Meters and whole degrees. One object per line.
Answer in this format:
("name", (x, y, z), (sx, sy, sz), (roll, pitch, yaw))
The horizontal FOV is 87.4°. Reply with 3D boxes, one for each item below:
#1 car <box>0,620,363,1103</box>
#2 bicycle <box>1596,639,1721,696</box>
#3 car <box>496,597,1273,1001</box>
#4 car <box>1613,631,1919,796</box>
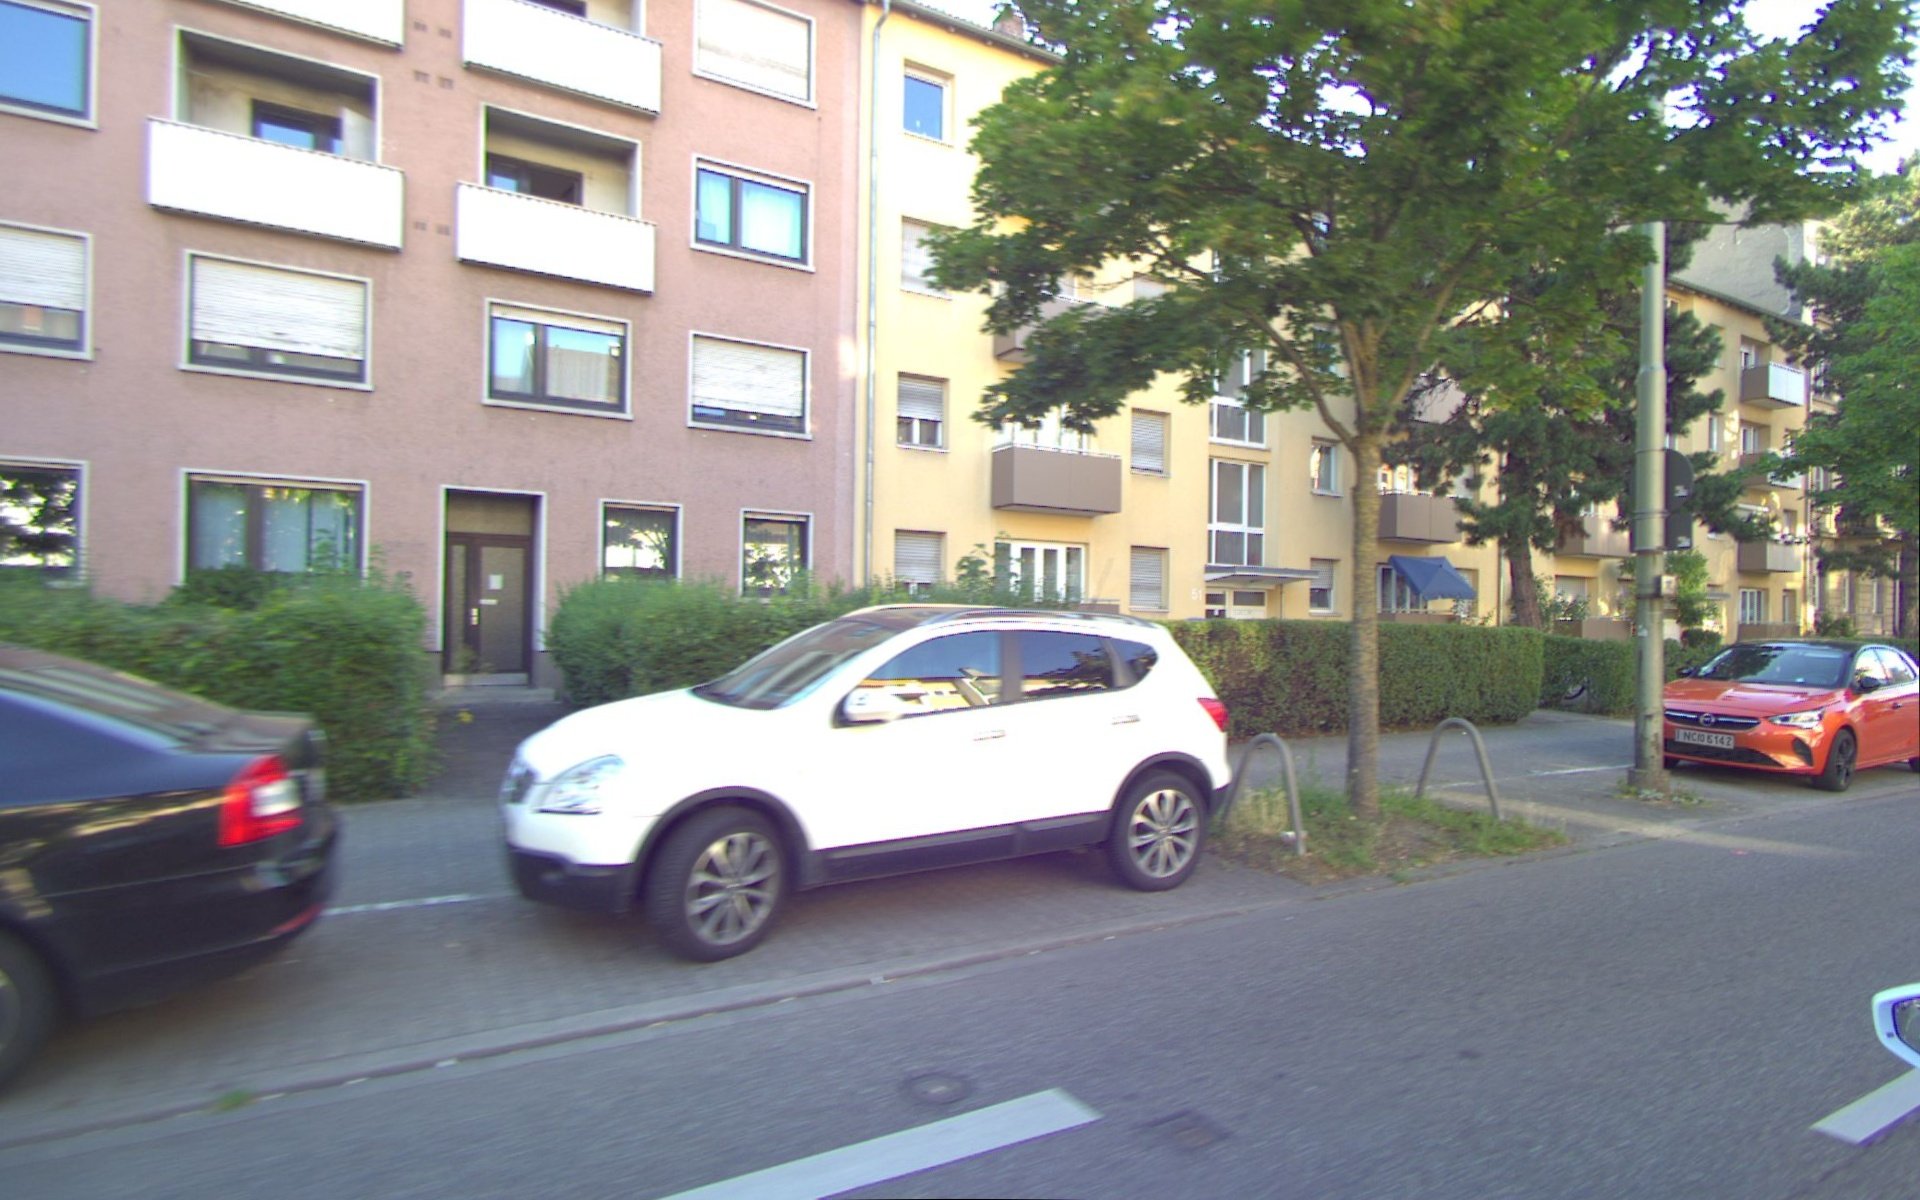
("car", (-4.547, 0.790, 3.272), (4.406, 1.467, 1.984), (1, -1, -31))
("bicycle", (13.574, 1.295, 19.584), (0.575, 0.938, 1.928), (1, 1, -28))
("car", (-0.336, 0.833, 5.821), (4.136, 1.609, 1.768), (1, 0, -30))
("car", (9.155, 1.115, 11.089), (3.877, 1.471, 1.709), (1, 0, -30))
